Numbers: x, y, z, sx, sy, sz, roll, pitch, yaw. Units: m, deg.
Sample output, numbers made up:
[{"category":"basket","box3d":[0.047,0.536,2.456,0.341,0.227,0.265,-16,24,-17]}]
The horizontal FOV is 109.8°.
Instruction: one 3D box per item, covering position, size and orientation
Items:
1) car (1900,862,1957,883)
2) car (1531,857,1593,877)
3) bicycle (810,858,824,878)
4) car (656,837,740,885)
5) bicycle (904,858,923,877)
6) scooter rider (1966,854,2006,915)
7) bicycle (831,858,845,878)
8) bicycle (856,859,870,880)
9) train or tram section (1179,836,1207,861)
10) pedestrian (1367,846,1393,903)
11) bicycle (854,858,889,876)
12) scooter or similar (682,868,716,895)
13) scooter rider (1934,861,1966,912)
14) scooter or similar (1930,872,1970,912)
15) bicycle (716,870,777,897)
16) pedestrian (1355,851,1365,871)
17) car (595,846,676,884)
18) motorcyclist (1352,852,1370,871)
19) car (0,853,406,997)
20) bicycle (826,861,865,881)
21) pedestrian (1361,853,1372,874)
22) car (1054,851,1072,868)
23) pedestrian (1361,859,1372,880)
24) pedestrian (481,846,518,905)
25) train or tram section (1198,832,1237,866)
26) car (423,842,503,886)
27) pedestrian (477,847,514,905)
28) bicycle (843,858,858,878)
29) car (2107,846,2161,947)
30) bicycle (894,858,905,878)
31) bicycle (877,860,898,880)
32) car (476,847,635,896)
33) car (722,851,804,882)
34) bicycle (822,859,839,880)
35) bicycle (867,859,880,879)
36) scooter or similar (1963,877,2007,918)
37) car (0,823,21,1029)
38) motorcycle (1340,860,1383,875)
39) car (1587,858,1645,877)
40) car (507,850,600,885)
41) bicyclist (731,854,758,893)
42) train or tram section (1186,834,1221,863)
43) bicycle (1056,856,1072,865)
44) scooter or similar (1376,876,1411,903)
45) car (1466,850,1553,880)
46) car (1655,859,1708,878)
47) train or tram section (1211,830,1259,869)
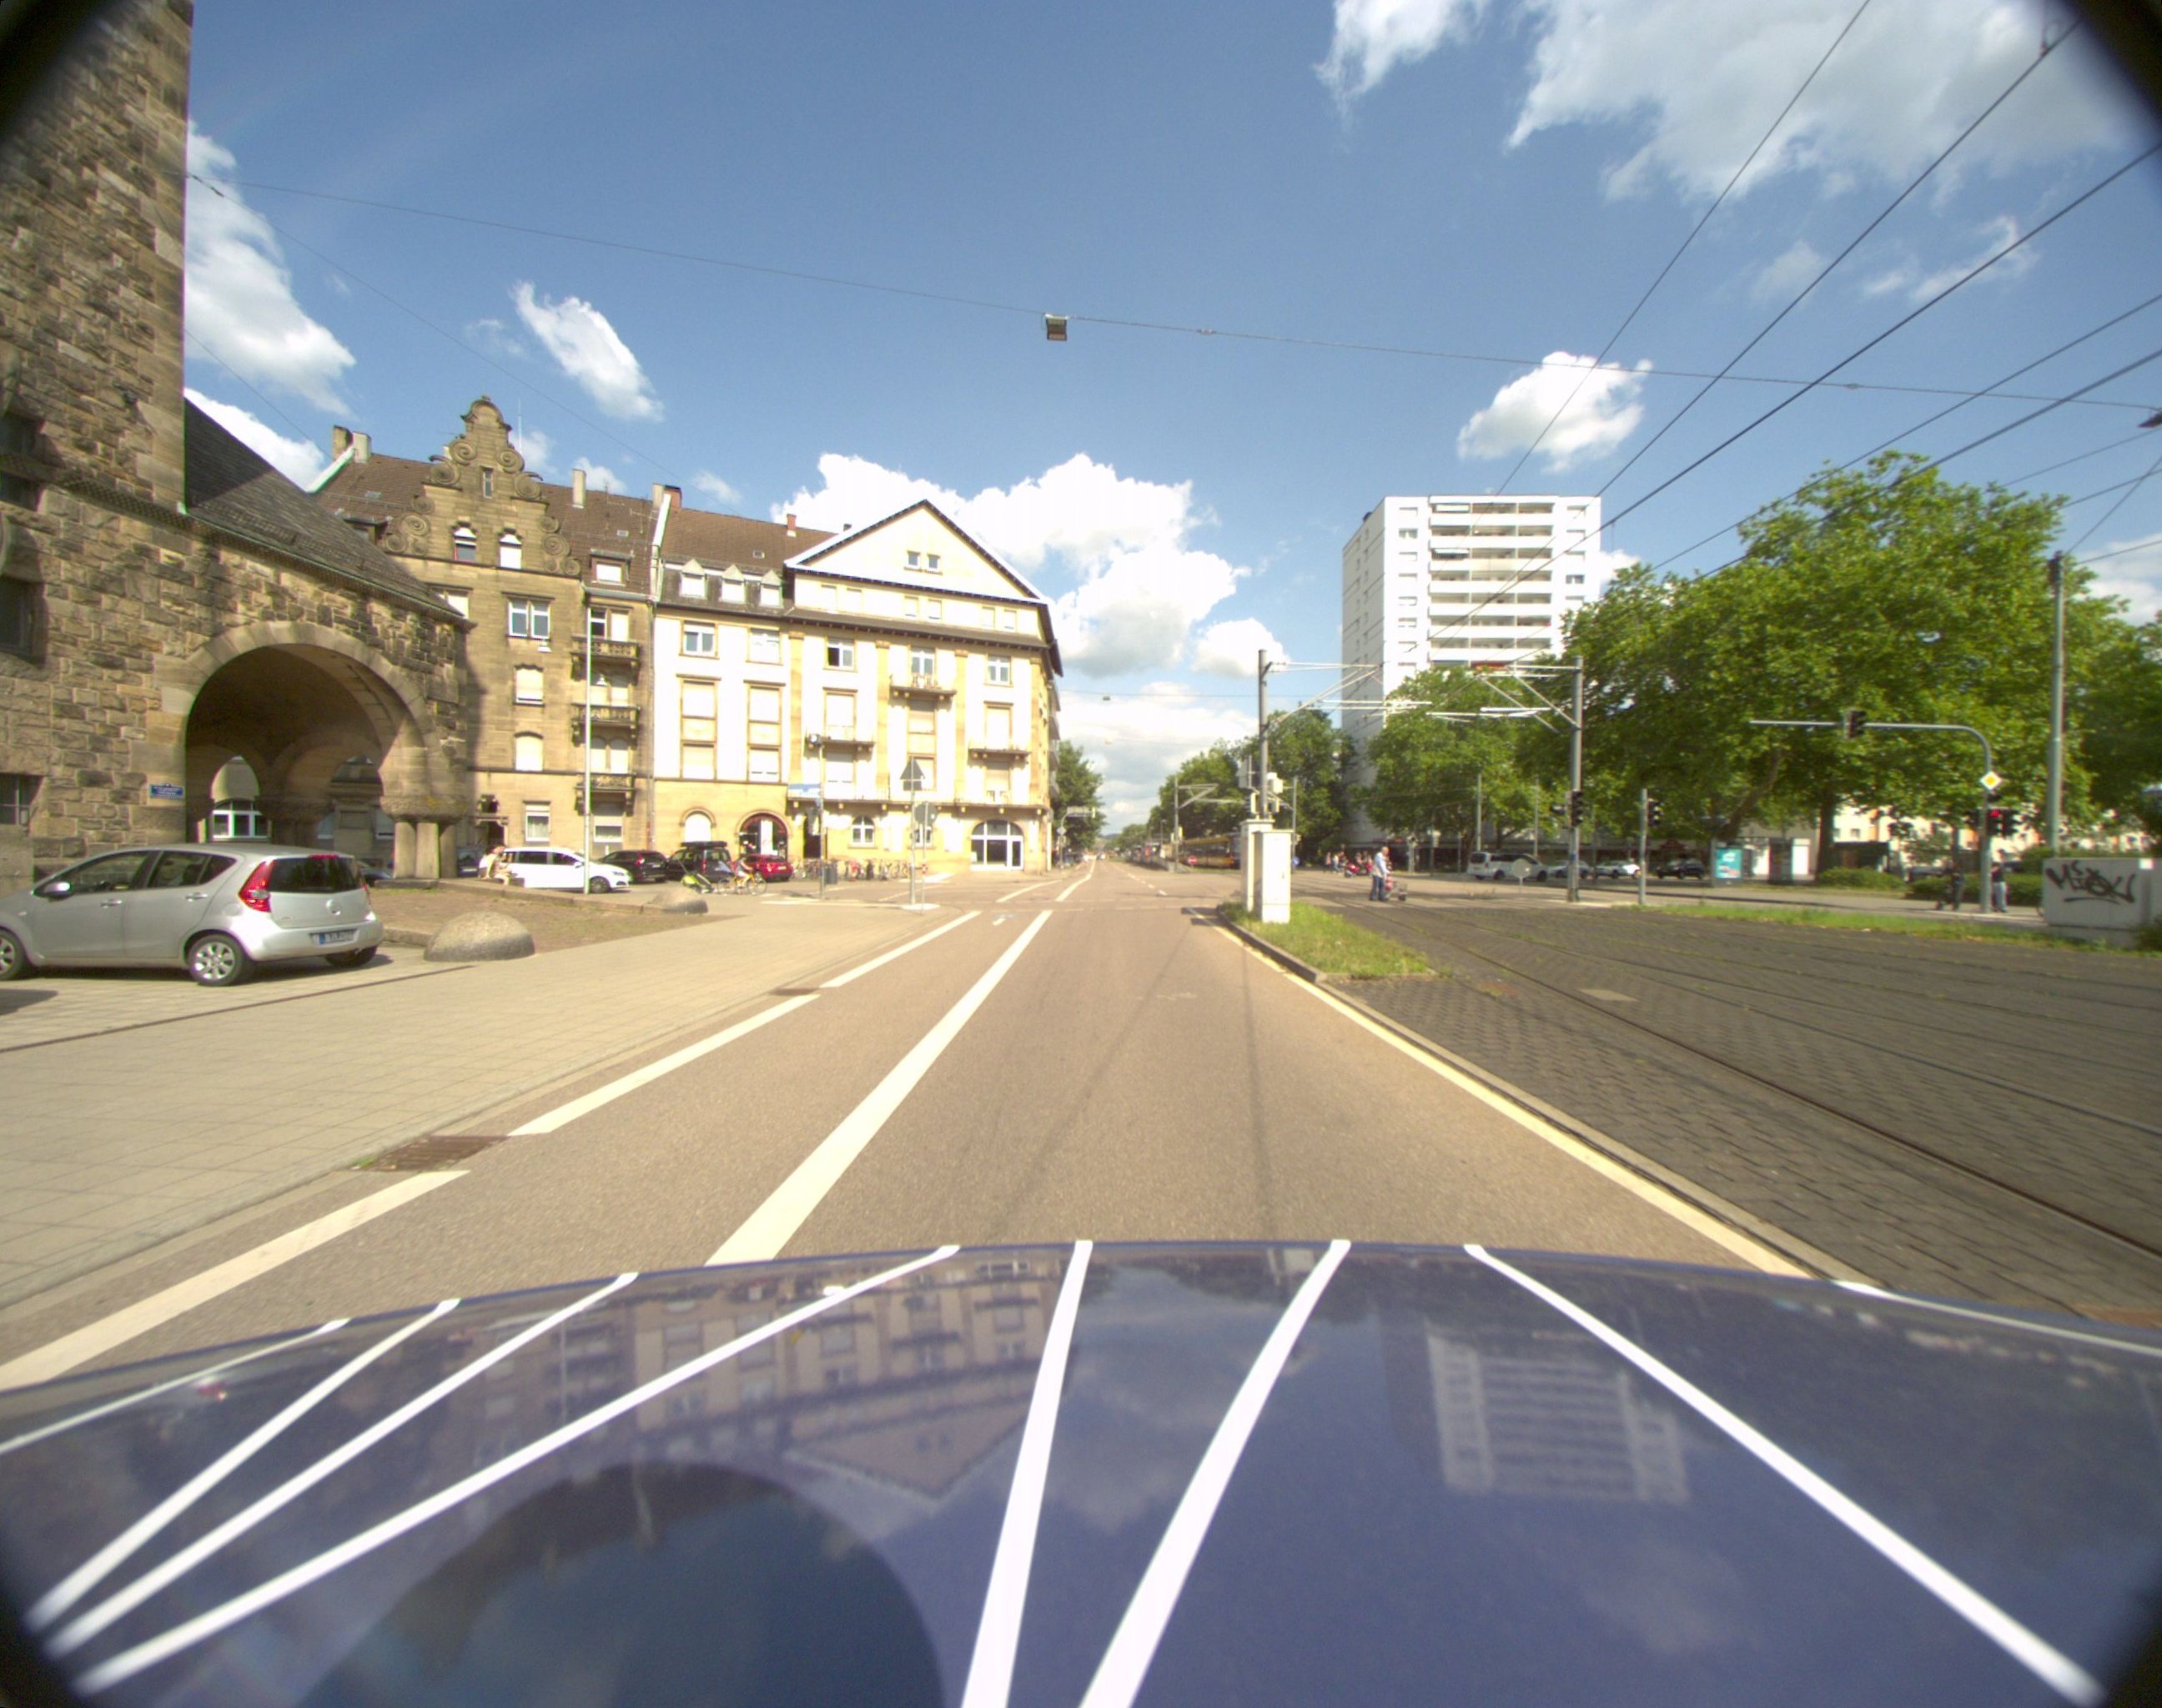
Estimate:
[{"category":"car","box3d":[65.490,1.387,58.728,4.004,1.493,1.687,-1,1,-22]},{"category":"car","box3d":[37.693,1.004,59.582,4.002,1.481,1.858,0,0,-15]},{"category":"bicycle","box3d":[-14.779,0.782,42.525,0.541,1.013,1.924,0,3,-24]},{"category":"car","box3d":[-19.910,0.292,39.429,3.987,2.071,1.971,6,4,30]},{"category":"bicycle","box3d":[-9.903,0.808,44.850,0.611,1.013,1.872,0,3,-27]},{"category":"scooter rider","box3d":[27.365,0.908,22.983,0.543,1.800,0.681,-1,1,27]},{"category":"bicycle","box3d":[-13.853,0.790,43.270,0.541,1.013,1.924,0,3,-24]},{"category":"bicycle","box3d":[-12.230,0.845,42.661,0.540,1.013,1.926,1,3,-10]},{"category":"train or tram section","box3d":[15.937,-0.746,108.427,2.773,3.462,8.906,0,0,1]},{"category":"pedestrian","box3d":[9.222,0.631,23.426,0.528,1.722,0.557,0,1,-4]},{"category":"bicycle","box3d":[-12.267,0.748,44.569,1.930,1.013,0.539,0,3,-20]},{"category":"scooter or similar","box3d":[-14.312,1.003,28.451,1.133,0.971,0.888,0,0,-28]},{"category":"scooter rider","box3d":[27.398,1.014,23.970,0.438,1.584,0.544,-2,1,-21]},{"category":"scooter or similar","box3d":[27.403,1.186,23.965,0.877,1.219,0.544,-2,1,-21]},{"category":"bicycle","box3d":[-12.946,1.118,29.442,2.137,0.983,0.651,0,0,-28]},{"category":"pedestrian","box3d":[23.884,0.608,65.003,0.671,1.693,0.648,0,1,4]},{"category":"car","box3d":[-22.389,0.512,38.166,3.988,1.659,1.714,3,3,30]},{"category":"motorcyclist","box3d":[18.015,0.470,48.881,0.976,1.210,0.699,0,1,8]},{"category":"car","box3d":[-10.819,0.770,9.135,3.776,1.538,1.798,0,0,0]},{"category":"bicycle","box3d":[-12.655,0.914,40.866,1.932,1.013,0.538,-1,4,-40]},{"category":"pedestrian","box3d":[22.941,0.755,61.126,0.671,1.693,0.648,0,1,4]},{"category":"car","box3d":[-2.109,0.610,89.448,1.851,1.779,4.000,3,0,0]},{"category":"pedestrian","box3d":[23.433,1.303,62.274,0.671,1.693,0.648,0,1,4]},{"category":"pedestrian","box3d":[-14.394,0.528,18.796,0.557,1.398,0.519,4,-3,45]},{"category":"train or tram section","box3d":[15.361,-0.557,86.196,2.812,3.540,11.182,0,0,2]},{"category":"car","box3d":[-28.811,0.405,35.405,3.987,1.815,1.920,3,3,36]},{"category":"pedestrian","box3d":[-14.795,0.555,19.199,0.557,1.398,0.519,4,-3,45]},{"category":"bicycle","box3d":[-13.230,0.790,43.576,0.541,1.013,1.924,0,3,-24]},{"category":"car","box3d":[22.111,0.801,12.964,2.080,1.974,5.337,1,-1,1]},{"category":"bicycle","box3d":[-10.653,0.806,44.599,0.610,1.013,1.873,1,3,-15]},{"category":"bicycle","box3d":[-10.935,0.872,42.983,0.602,1.013,1.876,1,2,2]},{"category":"car","box3d":[-19.639,0.626,28.676,4.670,1.730,1.811,0,1,-25]},{"category":"car","box3d":[-16.933,0.631,40.431,3.988,1.433,1.971,3,3,30]},{"category":"bicycle","box3d":[-13.852,0.839,41.967,0.541,1.013,1.923,0,3,-28]},{"category":"bicycle","box3d":[-11.720,0.841,42.989,0.540,1.013,1.926,1,2,-10]},{"category":"scooter or similar","box3d":[27.378,1.297,23.020,0.543,1.164,0.878,-1,1,27]},{"category":"car","box3d":[-11.474,0.624,5.814,4.012,1.813,1.863,0,0,-1]},{"category":"motorcycle","box3d":[18.007,0.862,48.892,2.502,0.971,0.699,0,1,8]},{"category":"car","box3d":[43.672,1.090,62.026,4.080,1.481,1.858,0,0,-20]},{"category":"car","box3d":[-25.608,0.618,36.897,3.989,1.436,1.919,3,3,25]},{"category":"bicyclist","box3d":[-13.018,0.743,29.391,0.923,1.495,0.651,0,0,-28]},{"category":"train or tram section","box3d":[15.663,-0.736,97.906,2.813,3.540,12.156,0,1,1]},{"category":"bicycle","box3d":[-1.810,0.674,81.956,1.693,0.980,0.497,0,1,-1]},{"category":"scooter or similar","box3d":[9.639,1.096,23.457,0.840,0.799,0.553,0,1,-3]},{"category":"car","box3d":[28.142,0.702,49.883,5.176,1.880,1.997,-1,0,-18]},{"category":"car","box3d":[51.209,1.215,64.788,4.004,1.610,1.687,0,1,-21]},{"category":"train or tram section","box3d":[15.032,-0.489,74.931,2.802,3.540,11.377,0,0,2]}]
